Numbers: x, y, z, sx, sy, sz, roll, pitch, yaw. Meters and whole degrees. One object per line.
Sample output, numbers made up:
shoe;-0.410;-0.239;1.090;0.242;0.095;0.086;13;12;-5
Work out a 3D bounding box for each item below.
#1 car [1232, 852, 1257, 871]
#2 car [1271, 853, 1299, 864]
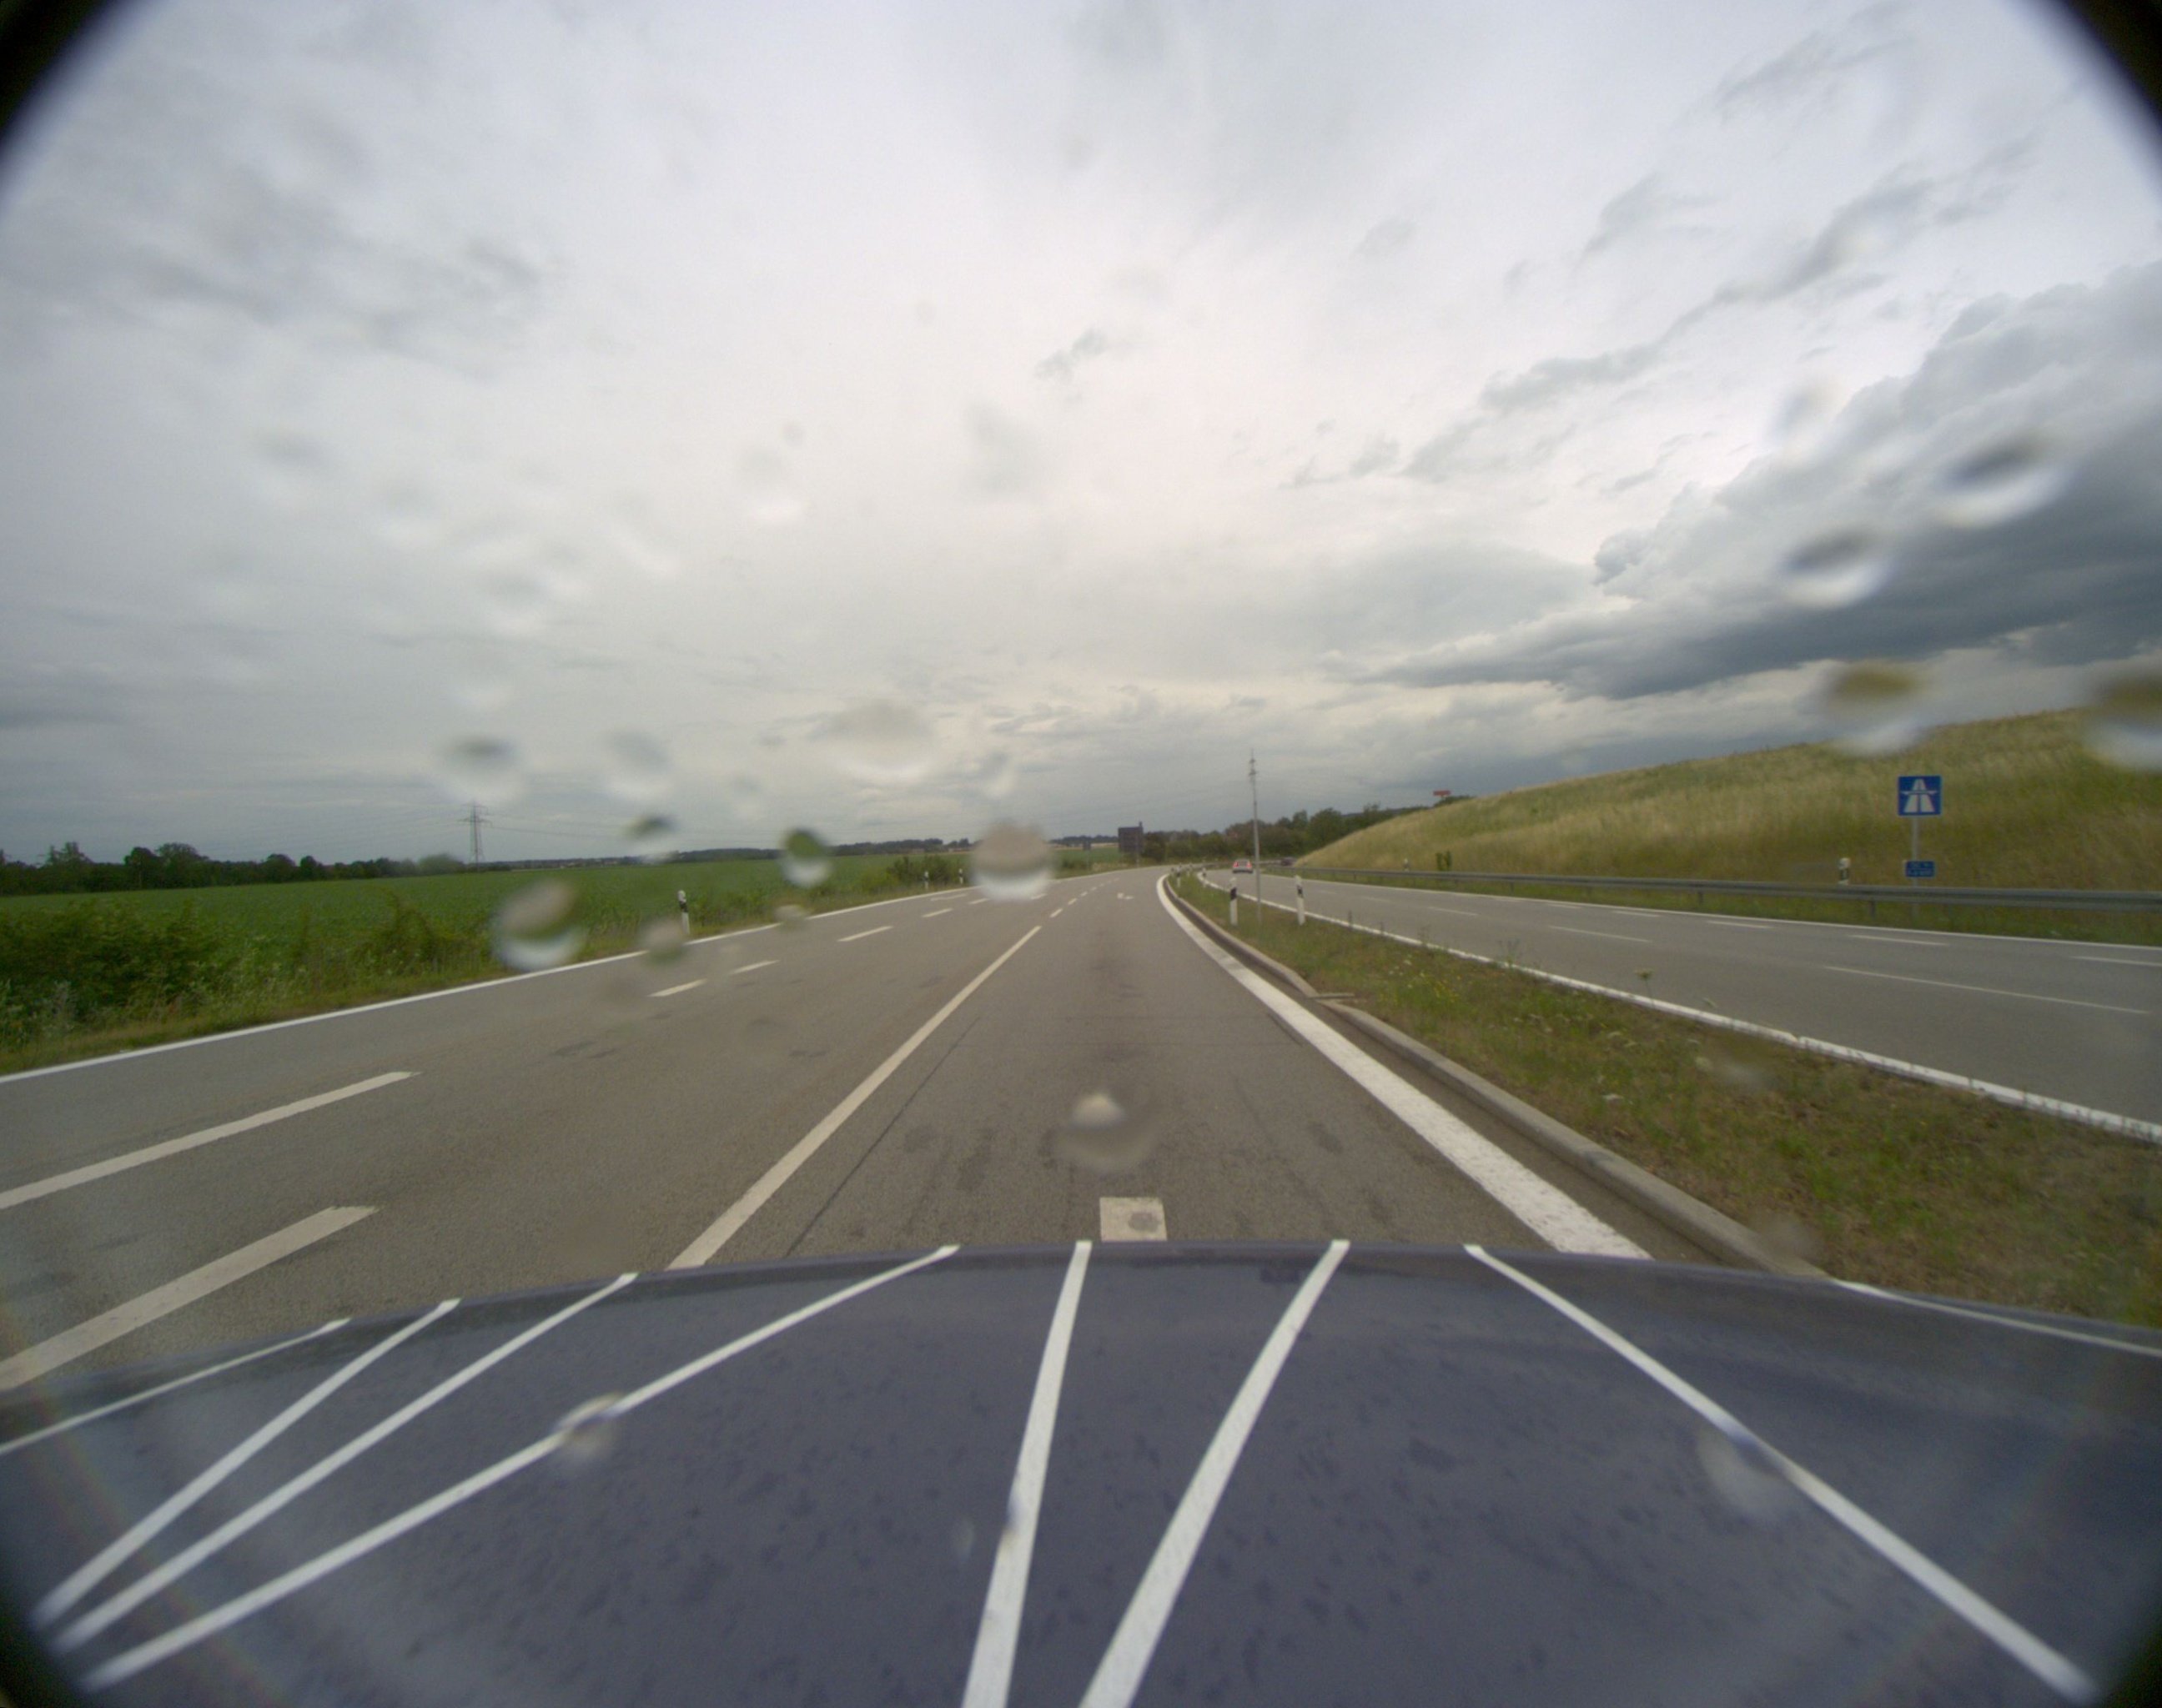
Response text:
car;16.744;0.739;77.732;1.996;1.674;4.119;-2;1;19
car;26.052;0.584;97.159;3.554;1.320;1.841;-3;1;-44
